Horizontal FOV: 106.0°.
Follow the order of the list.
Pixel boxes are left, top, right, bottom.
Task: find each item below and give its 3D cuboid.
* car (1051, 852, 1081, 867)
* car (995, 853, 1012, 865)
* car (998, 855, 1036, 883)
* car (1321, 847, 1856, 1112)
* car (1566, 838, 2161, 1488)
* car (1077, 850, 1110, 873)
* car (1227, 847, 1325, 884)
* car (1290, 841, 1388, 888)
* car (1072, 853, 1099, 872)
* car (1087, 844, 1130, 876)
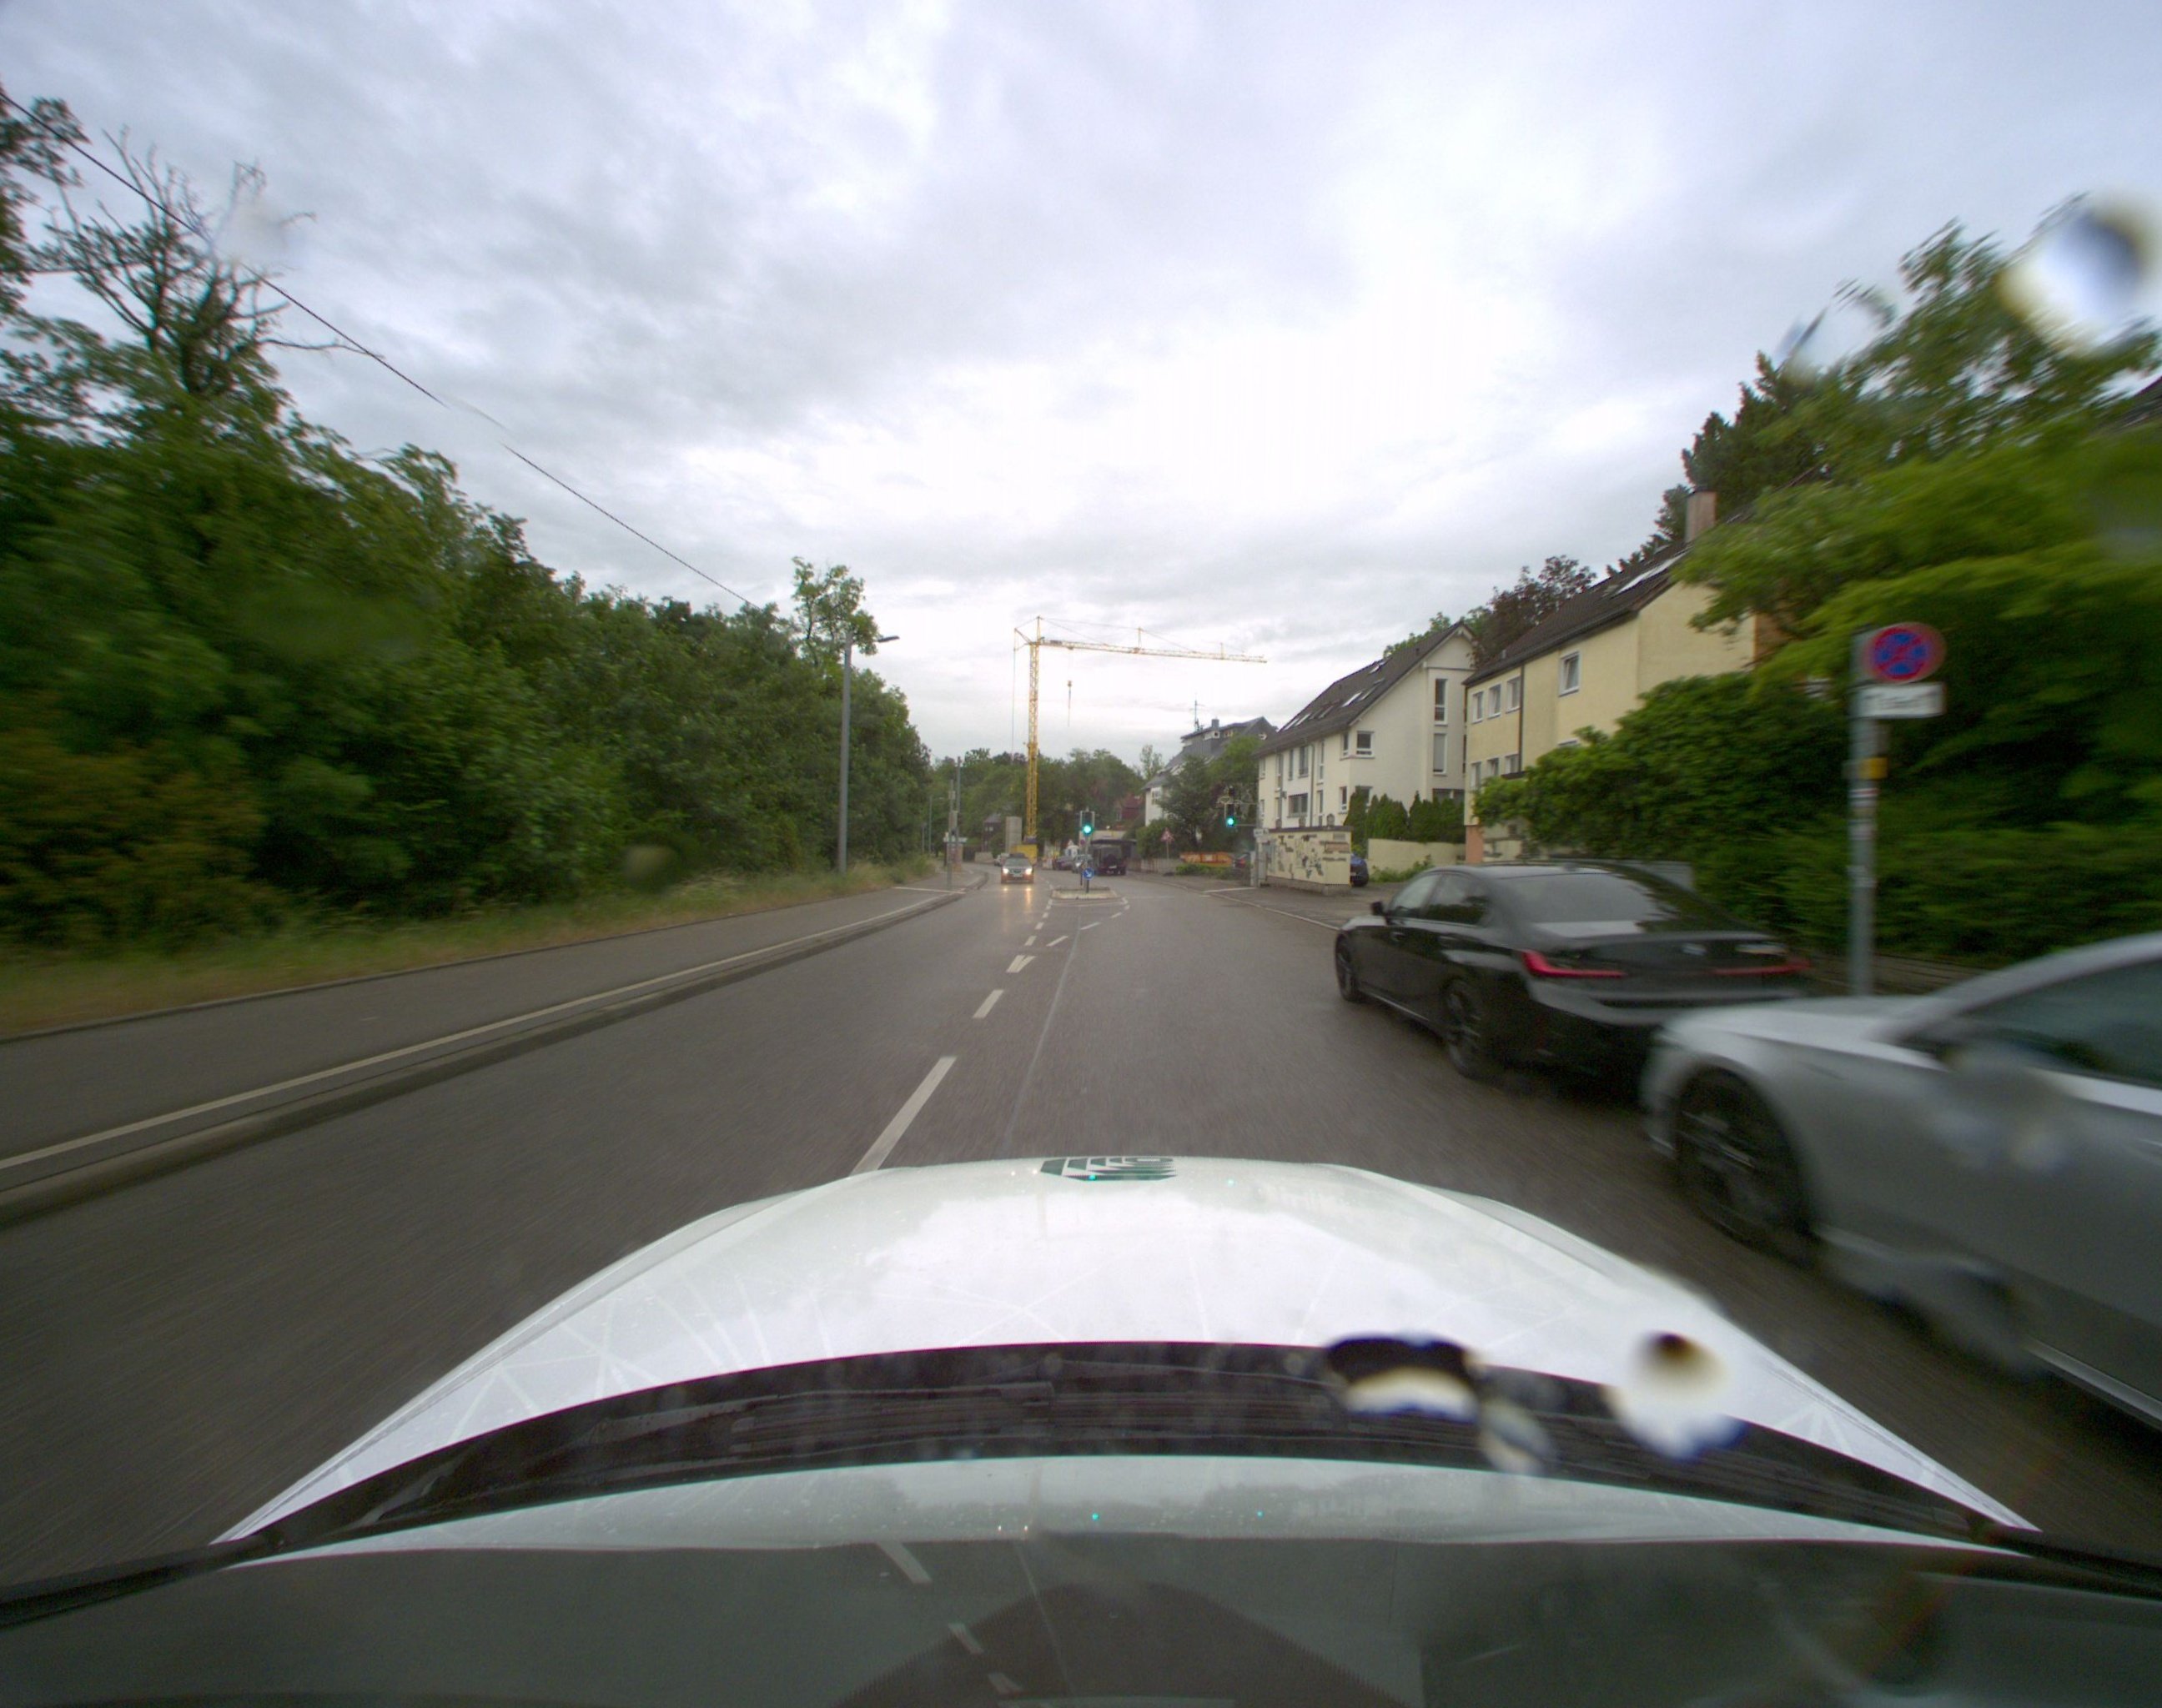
[{"bbox_3d":[-1.490,0.543,80.209,1.934,1.422,4.815,1,0,-13],"label":"car"},{"bbox_3d":[-11.624,0.763,121.699,1.748,1.706,4.479,-2,0,-15],"label":"car"},{"bbox_3d":[-3.404,0.791,44.086,1.738,1.460,4.412,0,0,-1],"label":"car"},{"bbox_3d":[3.450,0.710,6.766,1.745,1.443,4.603,0,-1,2],"label":"car"},{"bbox_3d":[3.369,0.709,2.010,1.786,1.487,4.497,0,-1,2],"label":"car"},{"bbox_3d":[0.923,0.595,61.838,1.930,1.596,4.385,-2,0,-6],"label":"car"},{"bbox_3d":[9.668,0.584,40.588,4.322,1.596,1.988,3,-1,-7],"label":"car"},{"bbox_3d":[9.817,0.408,31.344,1.930,1.596,4.331,3,-1,-7],"label":"car"},{"bbox_3d":[0.314,0.675,66.114,1.672,1.457,3.375,-1,0,-9],"label":"car"},{"bbox_3d":[1.855,0.408,56.867,1.993,2.013,4.940,-2,0,-9],"label":"car"}]
